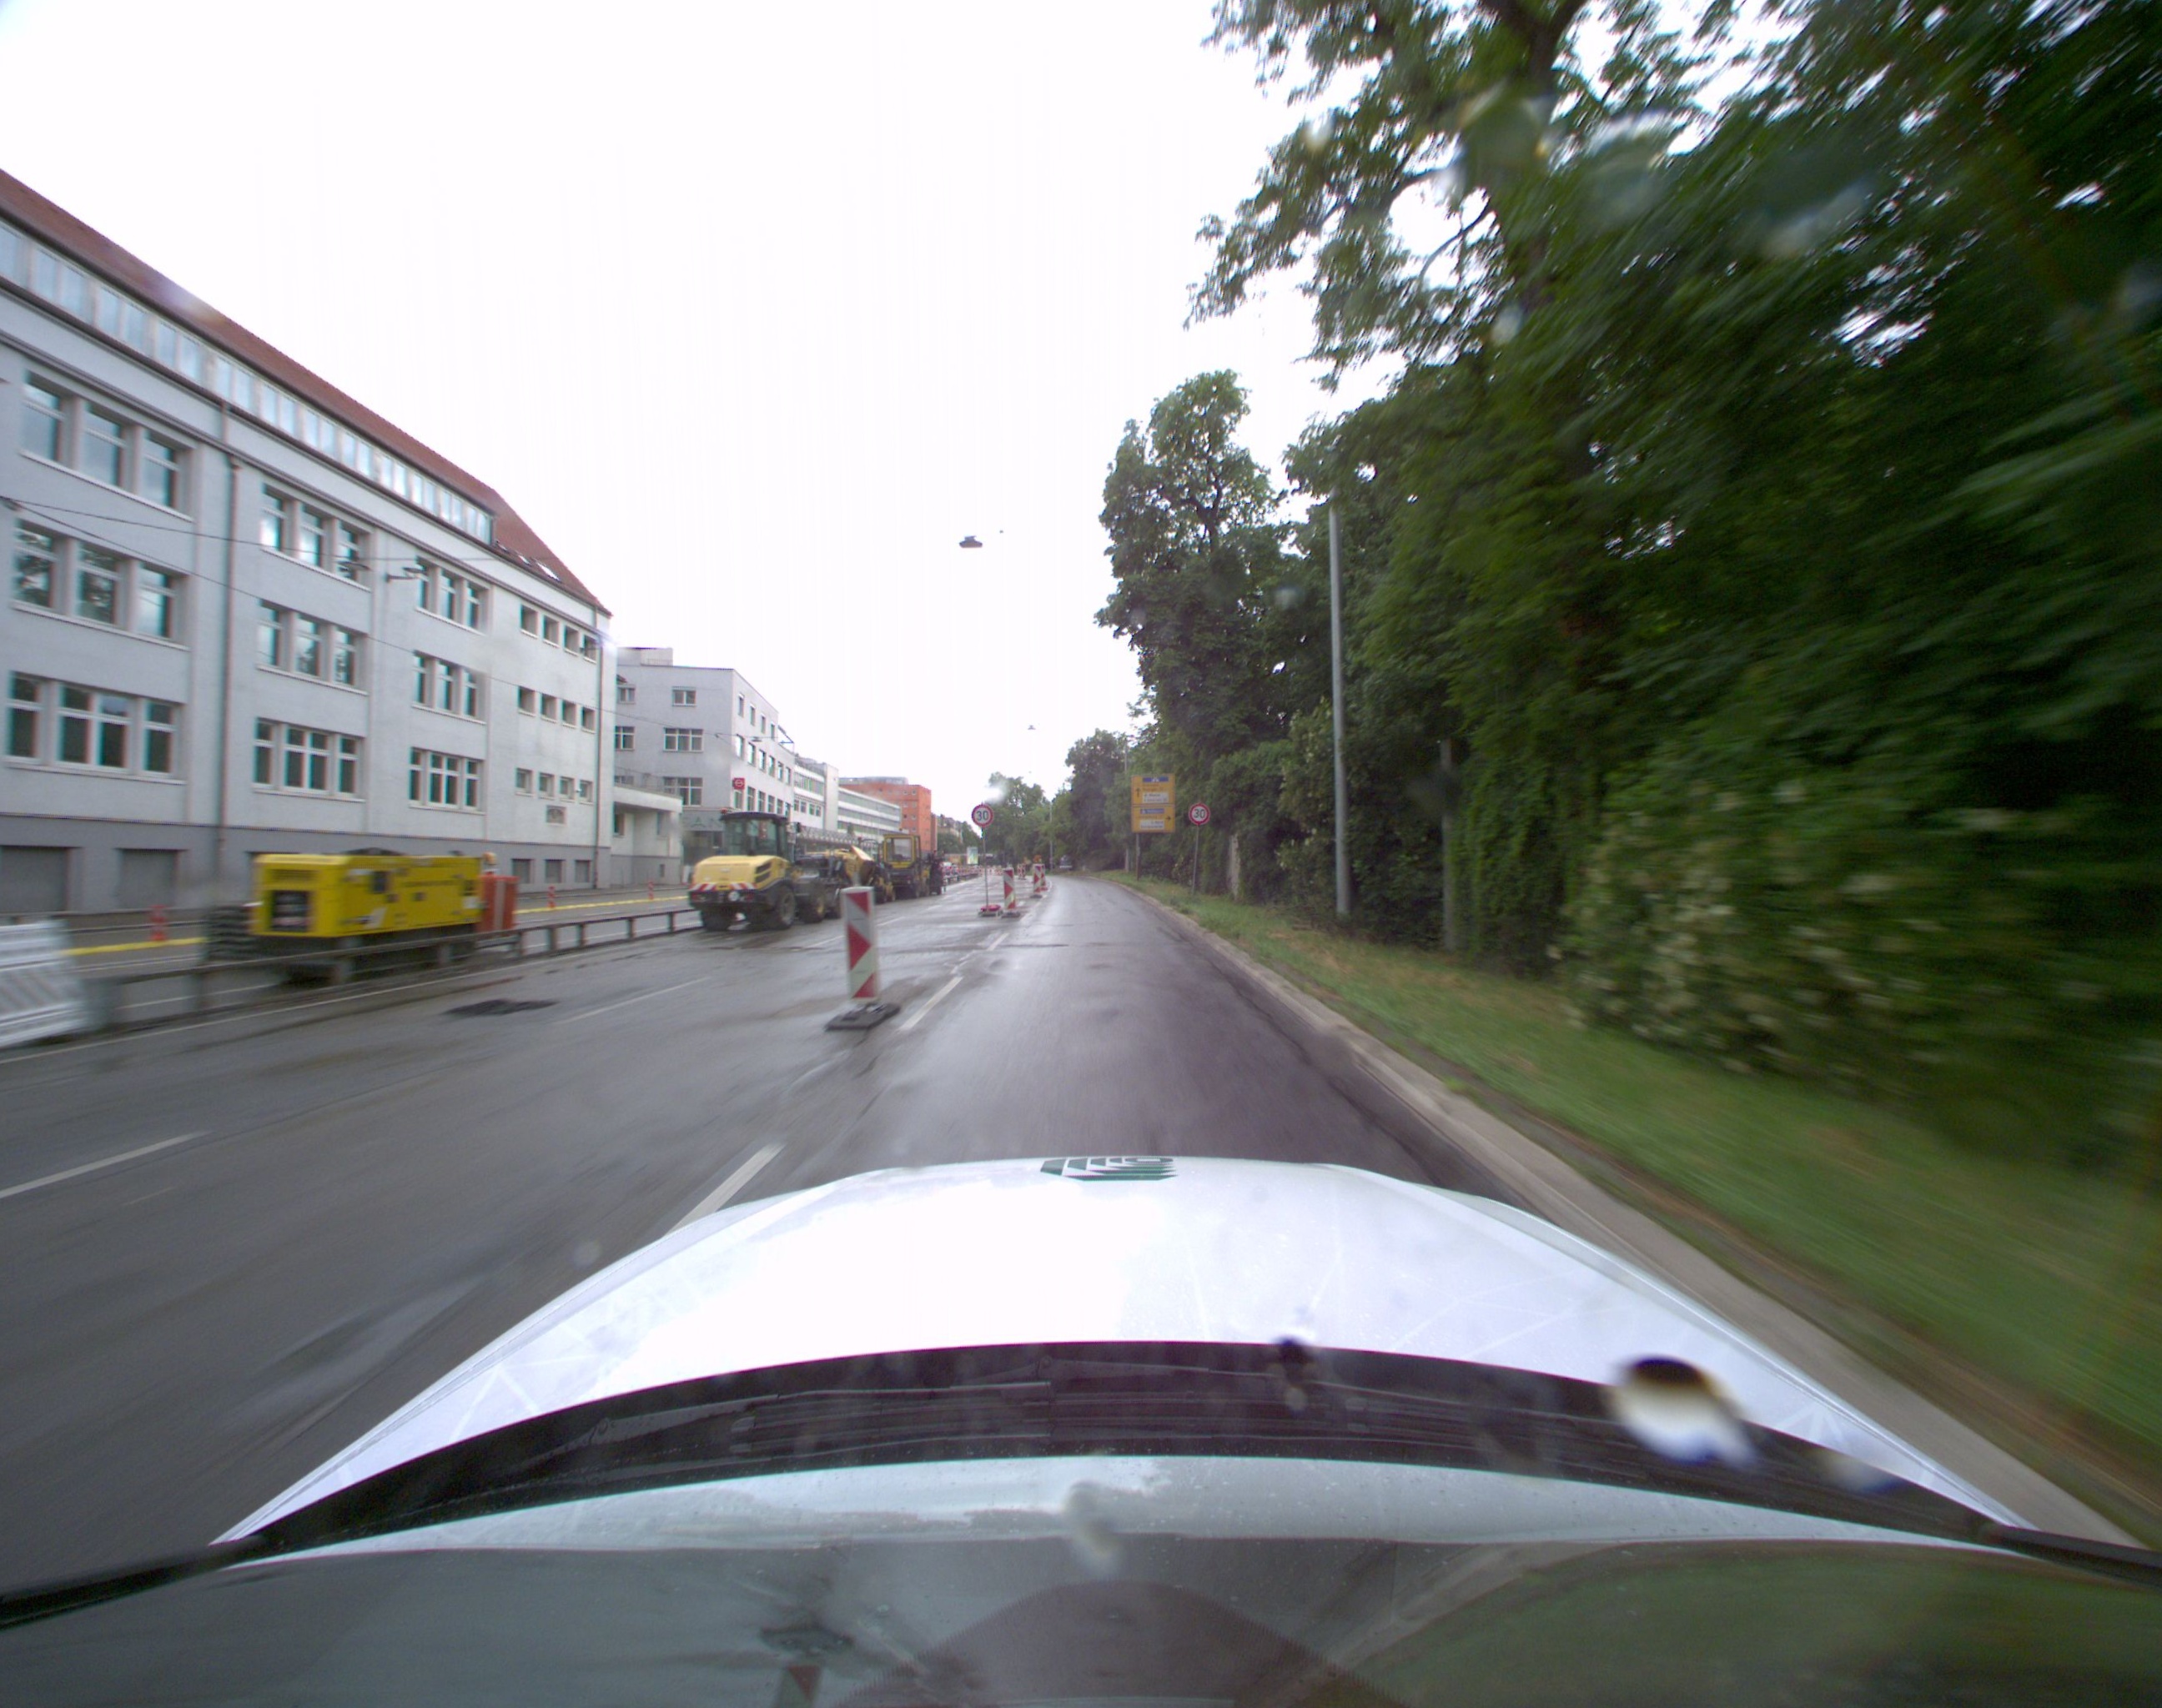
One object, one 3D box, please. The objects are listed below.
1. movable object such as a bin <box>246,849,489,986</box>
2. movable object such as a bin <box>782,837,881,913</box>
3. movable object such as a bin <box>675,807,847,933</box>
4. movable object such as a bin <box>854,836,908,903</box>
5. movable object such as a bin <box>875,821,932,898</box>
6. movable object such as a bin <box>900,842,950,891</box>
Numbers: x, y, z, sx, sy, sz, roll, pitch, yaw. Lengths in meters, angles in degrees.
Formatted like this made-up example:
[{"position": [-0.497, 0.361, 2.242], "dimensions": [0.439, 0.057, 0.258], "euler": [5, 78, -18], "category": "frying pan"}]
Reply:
[{"position": [-9.454, 0.771, 11.006], "dimensions": [1.079, 1.644, 2.439], "euler": [0, 0, 1], "category": "movable object such as a bin"}, {"position": [-7.488, 0.586, 24.953], "dimensions": [1.357, 2.090, 5.031], "euler": [0, 0, 2], "category": "movable object such as a bin"}, {"position": [-7.438, 0.332, 19.637], "dimensions": [1.895, 2.609, 5.384], "euler": [0, 0, 2], "category": "movable object such as a bin"}, {"position": [-7.507, 0.554, 30.738], "dimensions": [1.407, 2.401, 2.404], "euler": [-2, 0, -2], "category": "movable object such as a bin"}, {"position": [-7.386, 0.212, 34.186], "dimensions": [1.461, 3.008, 3.724], "euler": [-2, 0, 0], "category": "movable object such as a bin"}, {"position": [-7.280, 0.545, 38.323], "dimensions": [1.711, 2.150, 3.347], "euler": [-2, 0, -2], "category": "movable object such as a bin"}]
